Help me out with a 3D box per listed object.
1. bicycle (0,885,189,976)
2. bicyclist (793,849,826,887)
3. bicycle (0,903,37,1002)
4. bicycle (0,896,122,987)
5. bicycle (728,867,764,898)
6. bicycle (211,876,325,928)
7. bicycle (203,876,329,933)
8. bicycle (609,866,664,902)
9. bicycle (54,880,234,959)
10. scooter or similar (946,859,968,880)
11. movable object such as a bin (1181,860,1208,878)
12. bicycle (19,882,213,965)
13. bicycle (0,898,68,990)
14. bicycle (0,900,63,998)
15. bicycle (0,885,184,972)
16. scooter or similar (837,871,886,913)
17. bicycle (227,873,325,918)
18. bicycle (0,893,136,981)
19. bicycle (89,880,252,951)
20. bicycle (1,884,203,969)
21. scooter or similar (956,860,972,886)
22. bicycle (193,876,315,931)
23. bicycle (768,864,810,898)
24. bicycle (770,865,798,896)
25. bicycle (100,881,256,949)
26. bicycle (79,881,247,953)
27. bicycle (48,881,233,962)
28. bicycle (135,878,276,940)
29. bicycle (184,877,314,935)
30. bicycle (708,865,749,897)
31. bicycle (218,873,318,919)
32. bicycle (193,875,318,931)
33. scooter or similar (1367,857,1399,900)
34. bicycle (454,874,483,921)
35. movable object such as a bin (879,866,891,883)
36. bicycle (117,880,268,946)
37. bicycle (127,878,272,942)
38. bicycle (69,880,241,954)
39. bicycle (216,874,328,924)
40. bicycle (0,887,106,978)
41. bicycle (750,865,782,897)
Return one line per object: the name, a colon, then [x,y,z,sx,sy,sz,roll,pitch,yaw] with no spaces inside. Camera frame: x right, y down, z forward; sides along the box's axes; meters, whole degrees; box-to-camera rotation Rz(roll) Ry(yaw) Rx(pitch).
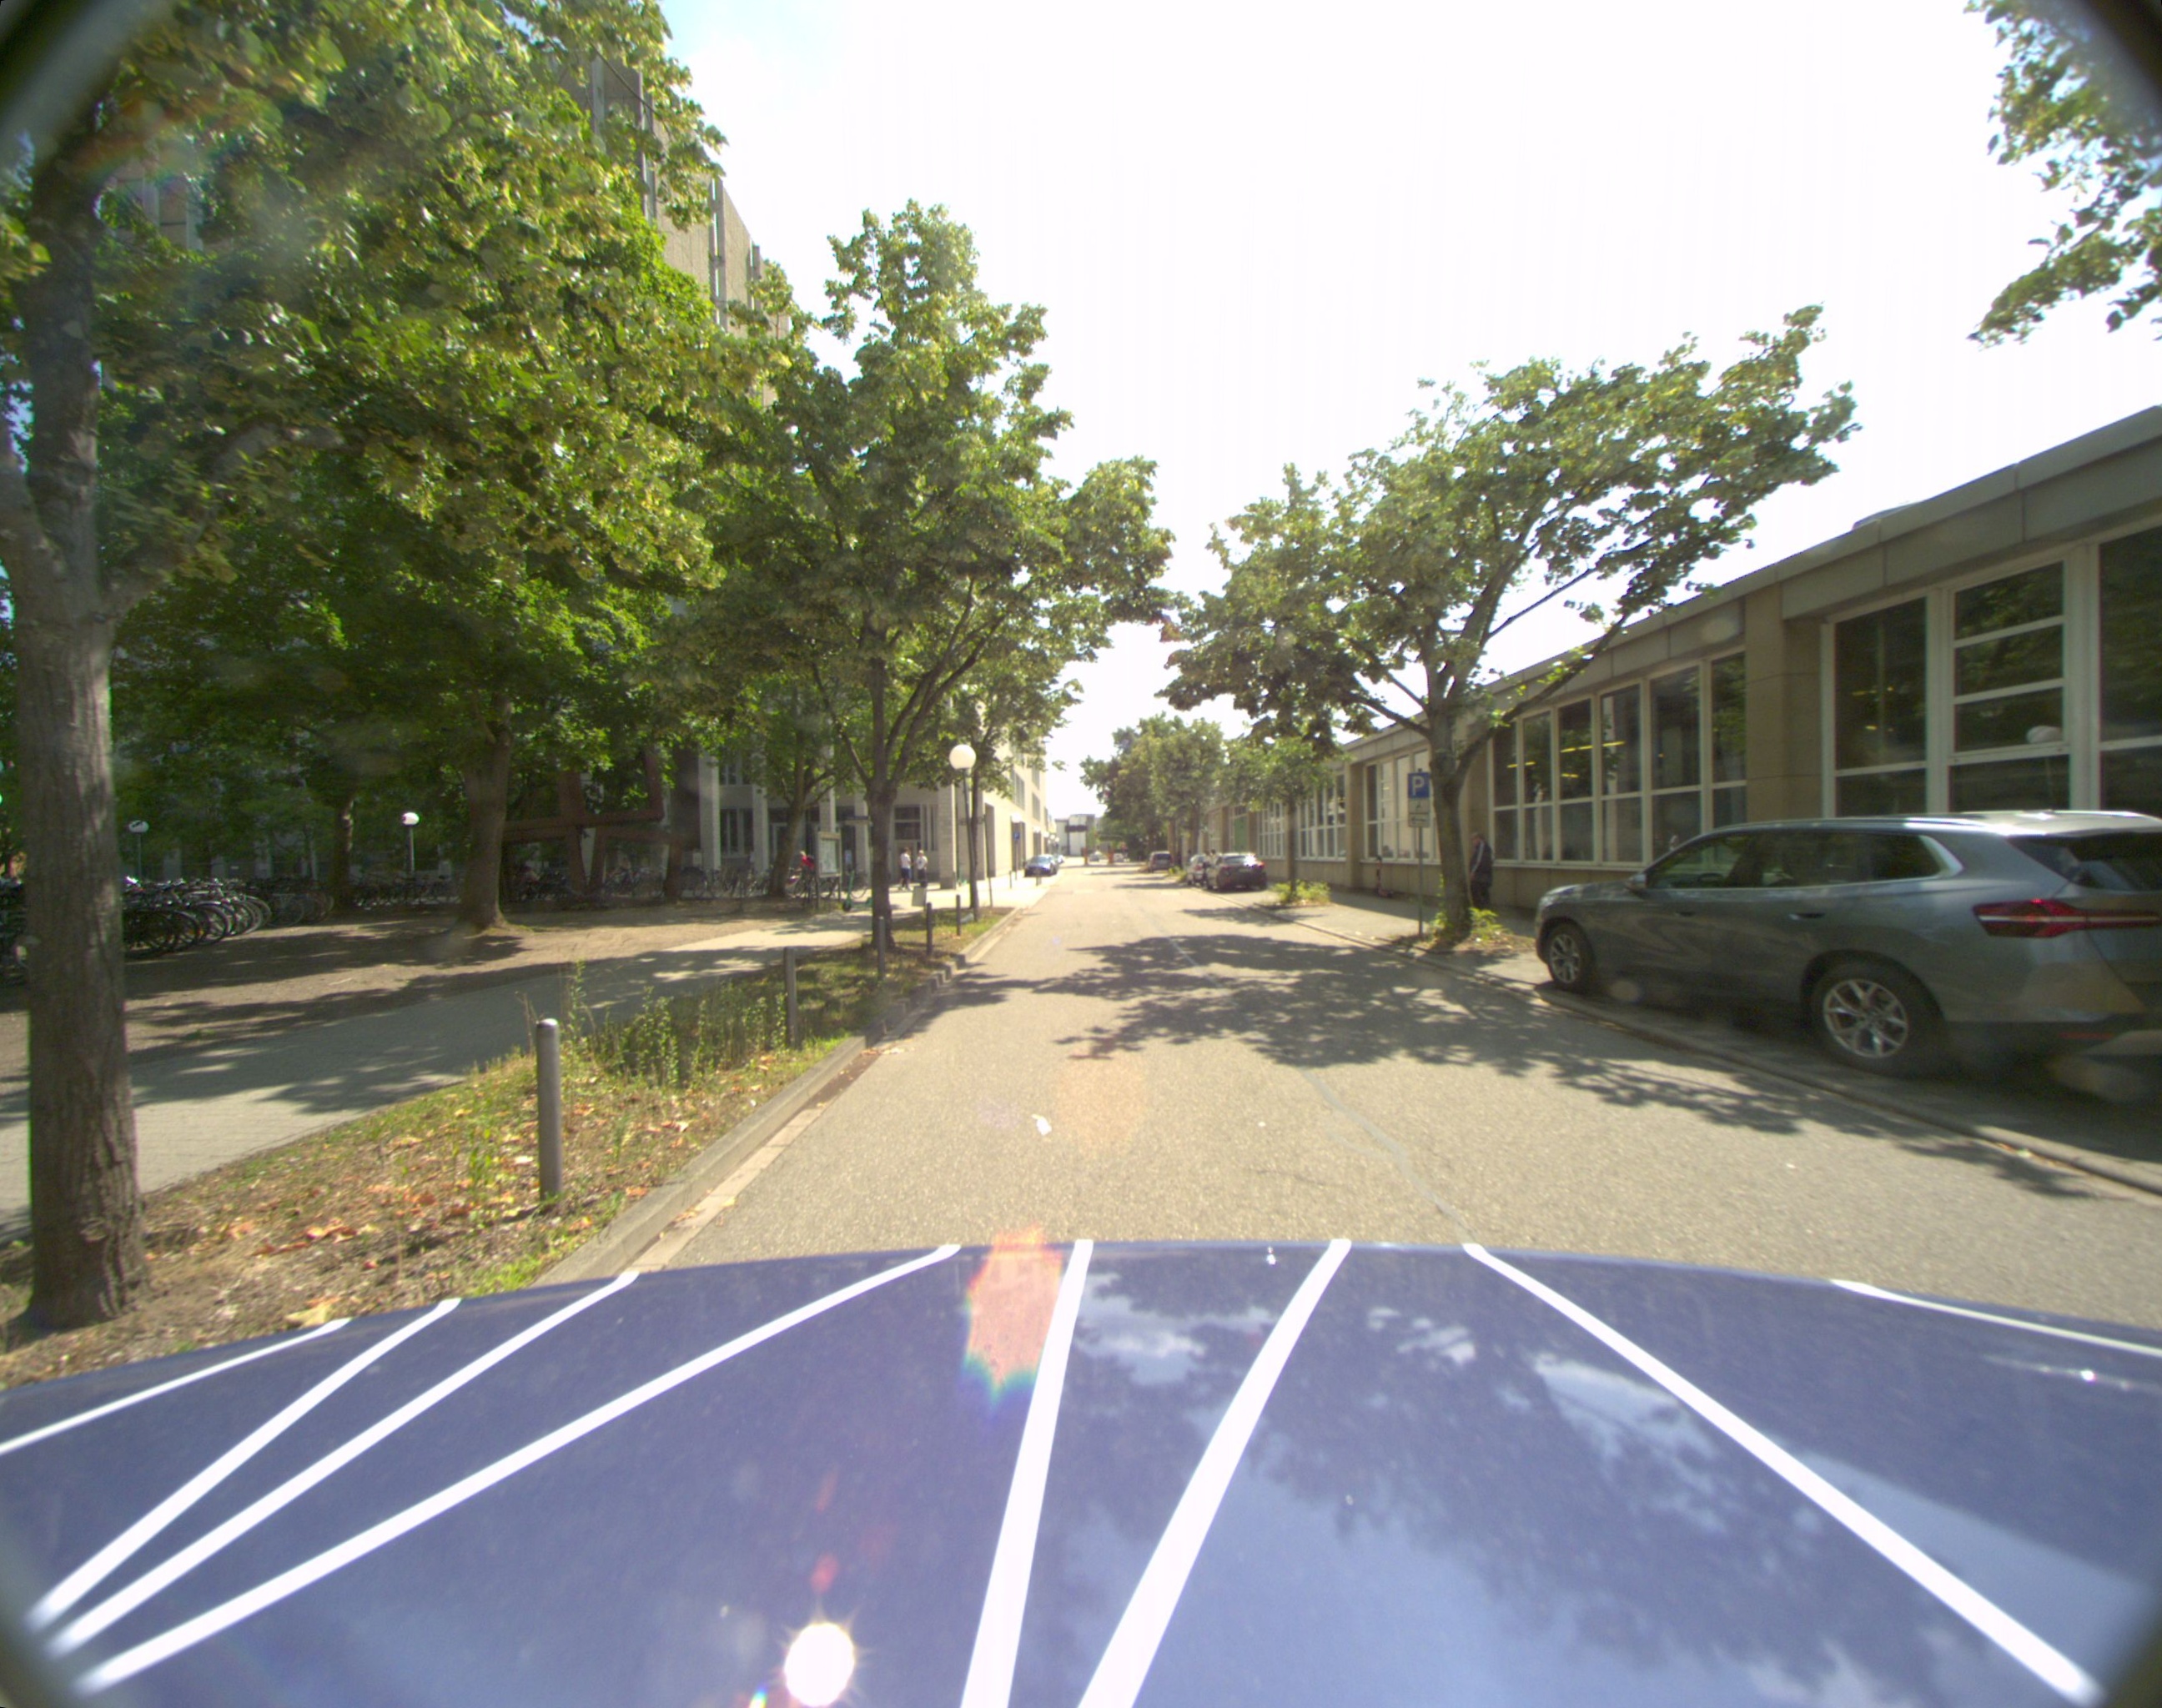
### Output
bicycle: [-14.105,1.058,10.800,1.796,1.163,0.401,-1,0,-33]
bicyclist: [-11.019,0.566,30.879,0.958,1.533,0.839,0,-2,7]
bicycle: [-12.606,1.096,8.043,1.796,1.063,0.425,-1,0,-30]
bicycle: [-13.424,1.101,9.466,1.796,1.063,0.425,-1,0,-28]
bicycle: [-11.844,0.997,26.903,0.481,1.079,1.516,1,-1,6]
bicycle: [-19.887,1.146,18.634,1.849,1.163,0.412,-1,0,-38]
bicycle: [-18.096,1.106,16.924,1.848,1.163,0.387,-1,0,-36]
bicycle: [-14.055,0.935,24.083,0.463,1.071,1.829,1,-1,8]
bicycle: [-15.457,1.047,12.614,0.344,1.163,1.849,0,0,43]
scooter or similar: [-7.282,0.898,44.508,0.566,1.205,1.506,-3,3,-40]
movable object such as a bin: [6.542,0.854,43.925,1.295,0.979,1.696,-3,0,1]
bicycle: [-14.987,1.056,11.866,1.848,1.163,0.344,-1,0,-33]
bicycle: [-13.482,1.095,8.969,1.796,1.063,0.425,-1,0,-28]
bicycle: [-12.824,1.092,8.425,1.796,1.063,0.425,-1,0,-30]
bicycle: [-14.689,1.067,11.196,1.848,1.163,0.401,-1,0,-33]
scooter or similar: [-5.998,1.025,20.797,0.496,1.107,1.365,0,-1,25]
bicycle: [-22.613,1.148,21.393,1.849,1.163,0.345,-1,0,-44]
bicycle: [-13.846,1.089,9.937,1.796,1.063,0.425,-1,0,-35]
bicycle: [-16.444,1.086,13.783,1.848,1.163,0.344,-1,0,-36]
bicycle: [-14.808,1.069,11.561,1.848,1.163,0.344,-1,0,-33]
scooter or similar: [-5.656,0.918,36.750,0.564,1.205,1.510,1,1,-1]
bicycle: [-19.038,1.118,17.552,1.849,1.163,0.412,-1,0,-38]
bicycle: [-10.172,0.933,26.509,0.491,1.134,1.529,0,-1,20]
bicycle: [-10.607,0.950,27.136,0.460,1.079,1.440,1,-1,-2]
bicycle: [-16.940,1.114,14.316,1.848,1.163,0.352,-1,0,-36]
bicycle: [-16.246,1.090,13.509,1.848,1.163,0.344,-1,0,-36]
bicycle: [-15.194,1.054,12.349,0.344,1.163,1.849,0,0,43]
bicycle: [-17.845,1.094,15.541,1.848,1.163,0.352,-1,0,-36]
bicycle: [-18.014,1.105,16.508,1.848,1.163,0.352,-1,0,-36]
bicycle: [-12.339,0.936,26.621,0.481,1.079,1.697,1,-1,6]
bicycle: [-22.470,1.136,21.047,1.849,1.163,0.345,-1,0,-44]
bicycle: [-18.569,1.078,17.140,1.849,1.163,0.387,-1,0,-38]
scooter or similar: [8.792,0.711,22.154,0.383,1.200,1.246,-3,0,-1]
bicycle: [-15.743,1.093,19.552,0.476,1.103,1.665,-2,2,-36]
movable object such as a bin: [-10.768,1.125,41.816,0.513,0.944,0.512,2,0,-1]
bicycle: [-17.091,1.110,14.669,1.848,1.163,0.352,-1,0,-36]
bicycle: [-17.631,1.098,15.254,1.848,1.163,0.352,-1,0,-36]
bicycle: [-16.044,1.062,13.228,1.849,1.163,0.344,-1,0,-37]
bicycle: [-20.198,1.100,19.020,1.849,1.163,0.412,-1,0,-38]
bicycle: [-14.450,1.058,10.087,1.796,1.163,0.401,-1,0,-33]
bicycle: [-11.084,0.949,26.773,0.460,1.079,1.474,1,-1,2]
